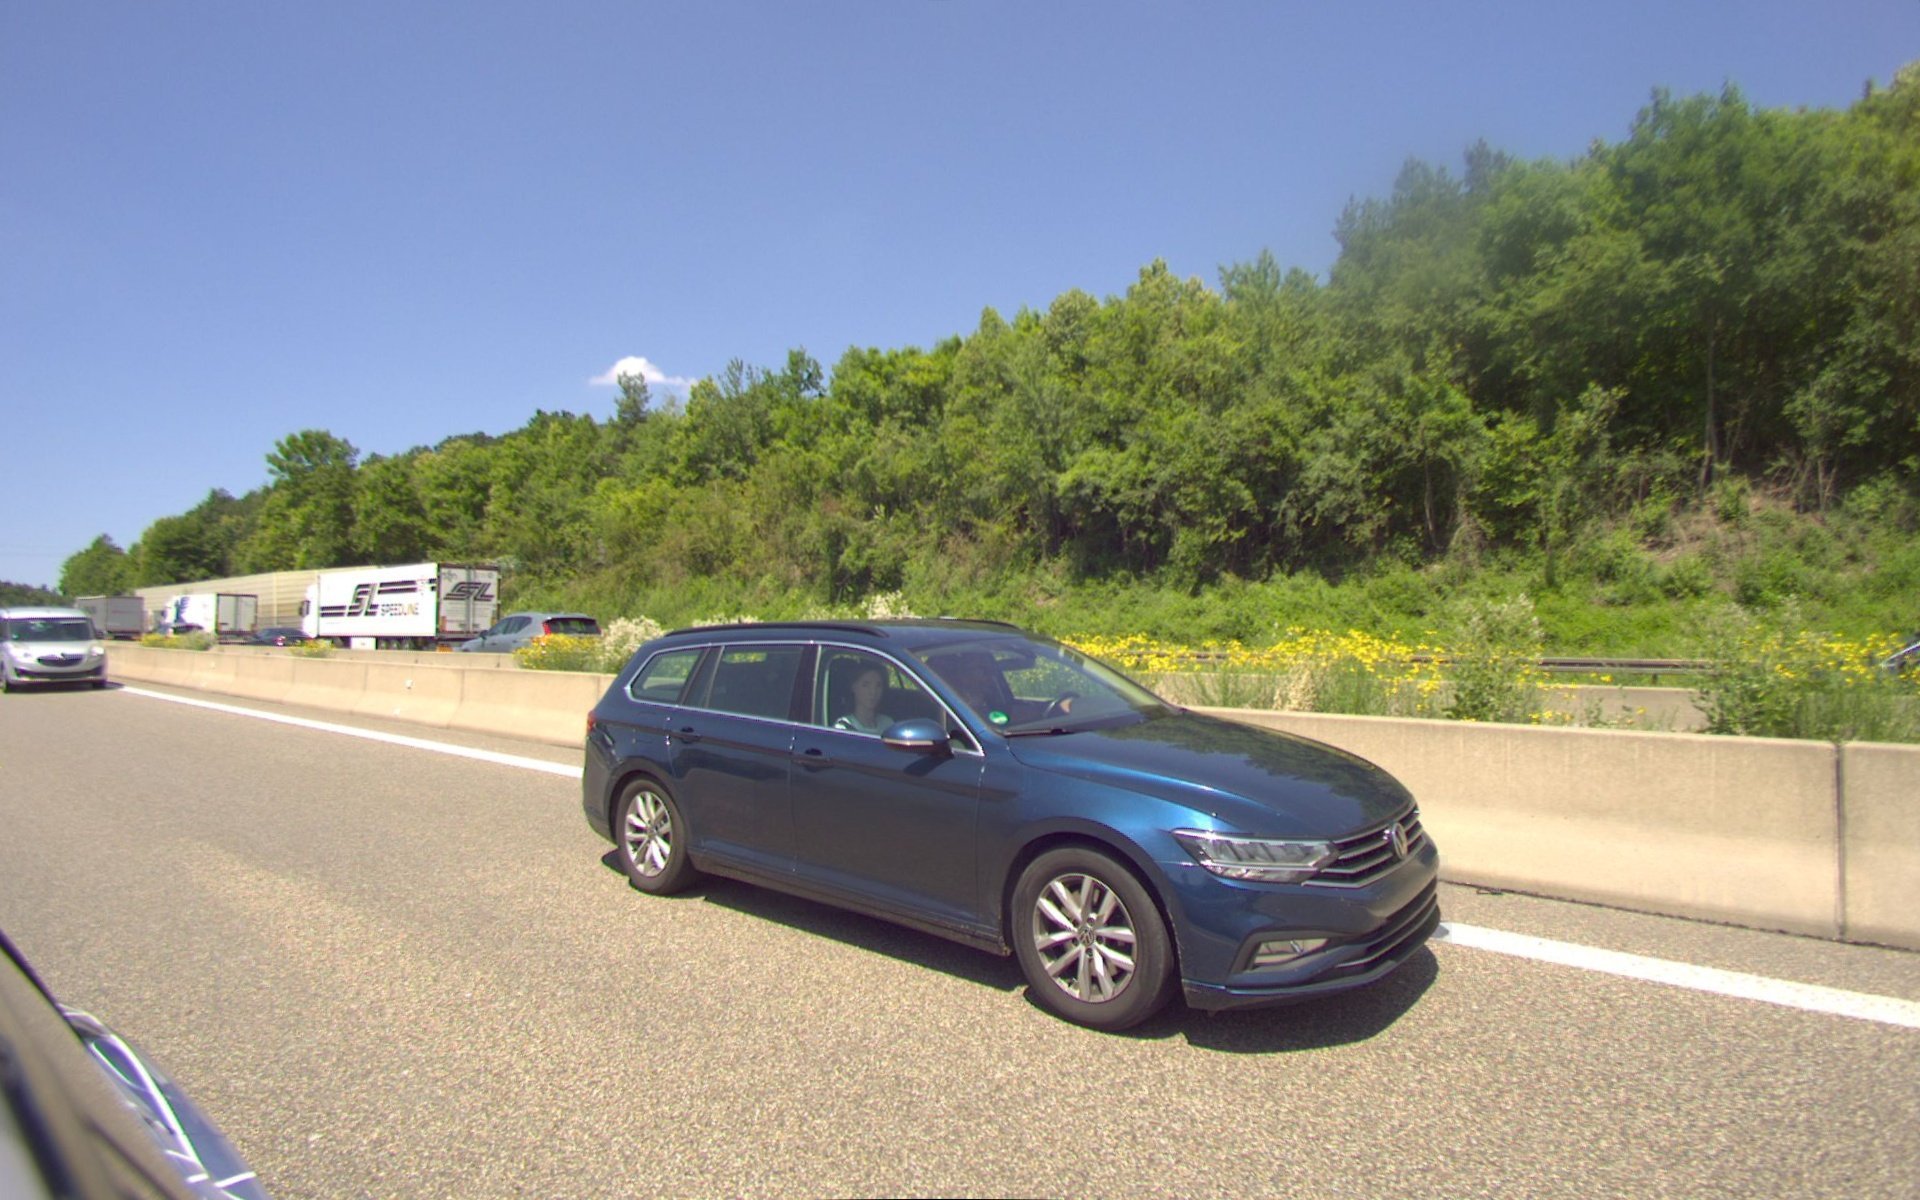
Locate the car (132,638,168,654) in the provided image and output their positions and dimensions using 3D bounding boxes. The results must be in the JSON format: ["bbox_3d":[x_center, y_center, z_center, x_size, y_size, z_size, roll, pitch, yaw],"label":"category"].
[{"bbox_3d":[-72.590,4.117,90.697,4.499,1.381,1.744,-1,-3,41],"label":"car"}]

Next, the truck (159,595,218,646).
[{"bbox_3d":[-64.063,1.722,84.005,5.081,4.078,2.778,-1,-3,40],"label":"truck"}]

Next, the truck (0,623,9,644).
[{"bbox_3d":[-131.473,4.424,137.215,11.622,2.709,2.501,-1,-3,41],"label":"truck"}]

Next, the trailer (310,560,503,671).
[{"bbox_3d":[-25.255,0.708,45.576,14.027,4.371,2.774,-1,-2,41],"label":"trailer"}]

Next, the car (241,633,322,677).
[{"bbox_3d":[-30.441,2.427,45.358,4.728,1.790,1.767,-1,-3,41],"label":"car"}]

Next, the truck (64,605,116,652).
[{"bbox_3d":[-80.893,2.644,94.103,5.656,4.246,2.811,-2,-2,41],"label":"truck"}]

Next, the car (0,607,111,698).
[{"bbox_3d":[-20.696,1.135,22.821,3.998,1.858,1.758,-1,-2,41],"label":"car"}]

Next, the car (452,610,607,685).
[{"bbox_3d":[-9.583,1.027,22.389,3.997,1.530,1.547,-2,-3,41],"label":"car"}]

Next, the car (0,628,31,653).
[{"bbox_3d":[-74.354,3.128,79.163,5.033,1.861,1.892,-1,-3,41],"label":"car"}]

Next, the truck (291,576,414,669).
[{"bbox_3d":[-29.710,1.089,49.348,7.594,4.197,2.774,-1,-2,40],"label":"truck"}]

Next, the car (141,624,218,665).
[{"bbox_3d":[-36.417,2.050,47.189,4.784,1.769,1.864,-1,-3,41],"label":"car"}]

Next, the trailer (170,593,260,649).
[{"bbox_3d":[-58.538,1.644,79.355,12.618,4.078,2.778,-1,-3,41],"label":"trailer"}]

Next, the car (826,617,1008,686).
[{"bbox_3d":[-1.000,1.090,21.984,3.997,1.377,1.547,-2,-3,41],"label":"car"}]

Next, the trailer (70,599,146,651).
[{"bbox_3d":[-75.059,2.169,89.003,14.731,4.197,2.805,-1,-3,41],"label":"trailer"}]

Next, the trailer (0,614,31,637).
[{"bbox_3d":[-166.915,4.419,178.779,13.825,3.938,2.782,-1,-3,42],"label":"trailer"}]

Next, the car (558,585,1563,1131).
[{"bbox_3d":[0.040,0.755,4.906,4.727,1.438,1.714,-1,-3,41],"label":"car"}]

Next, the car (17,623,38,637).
[{"bbox_3d":[-139.830,4.554,151.769,3.998,2.029,1.973,-2,-1,41],"label":"car"}]
